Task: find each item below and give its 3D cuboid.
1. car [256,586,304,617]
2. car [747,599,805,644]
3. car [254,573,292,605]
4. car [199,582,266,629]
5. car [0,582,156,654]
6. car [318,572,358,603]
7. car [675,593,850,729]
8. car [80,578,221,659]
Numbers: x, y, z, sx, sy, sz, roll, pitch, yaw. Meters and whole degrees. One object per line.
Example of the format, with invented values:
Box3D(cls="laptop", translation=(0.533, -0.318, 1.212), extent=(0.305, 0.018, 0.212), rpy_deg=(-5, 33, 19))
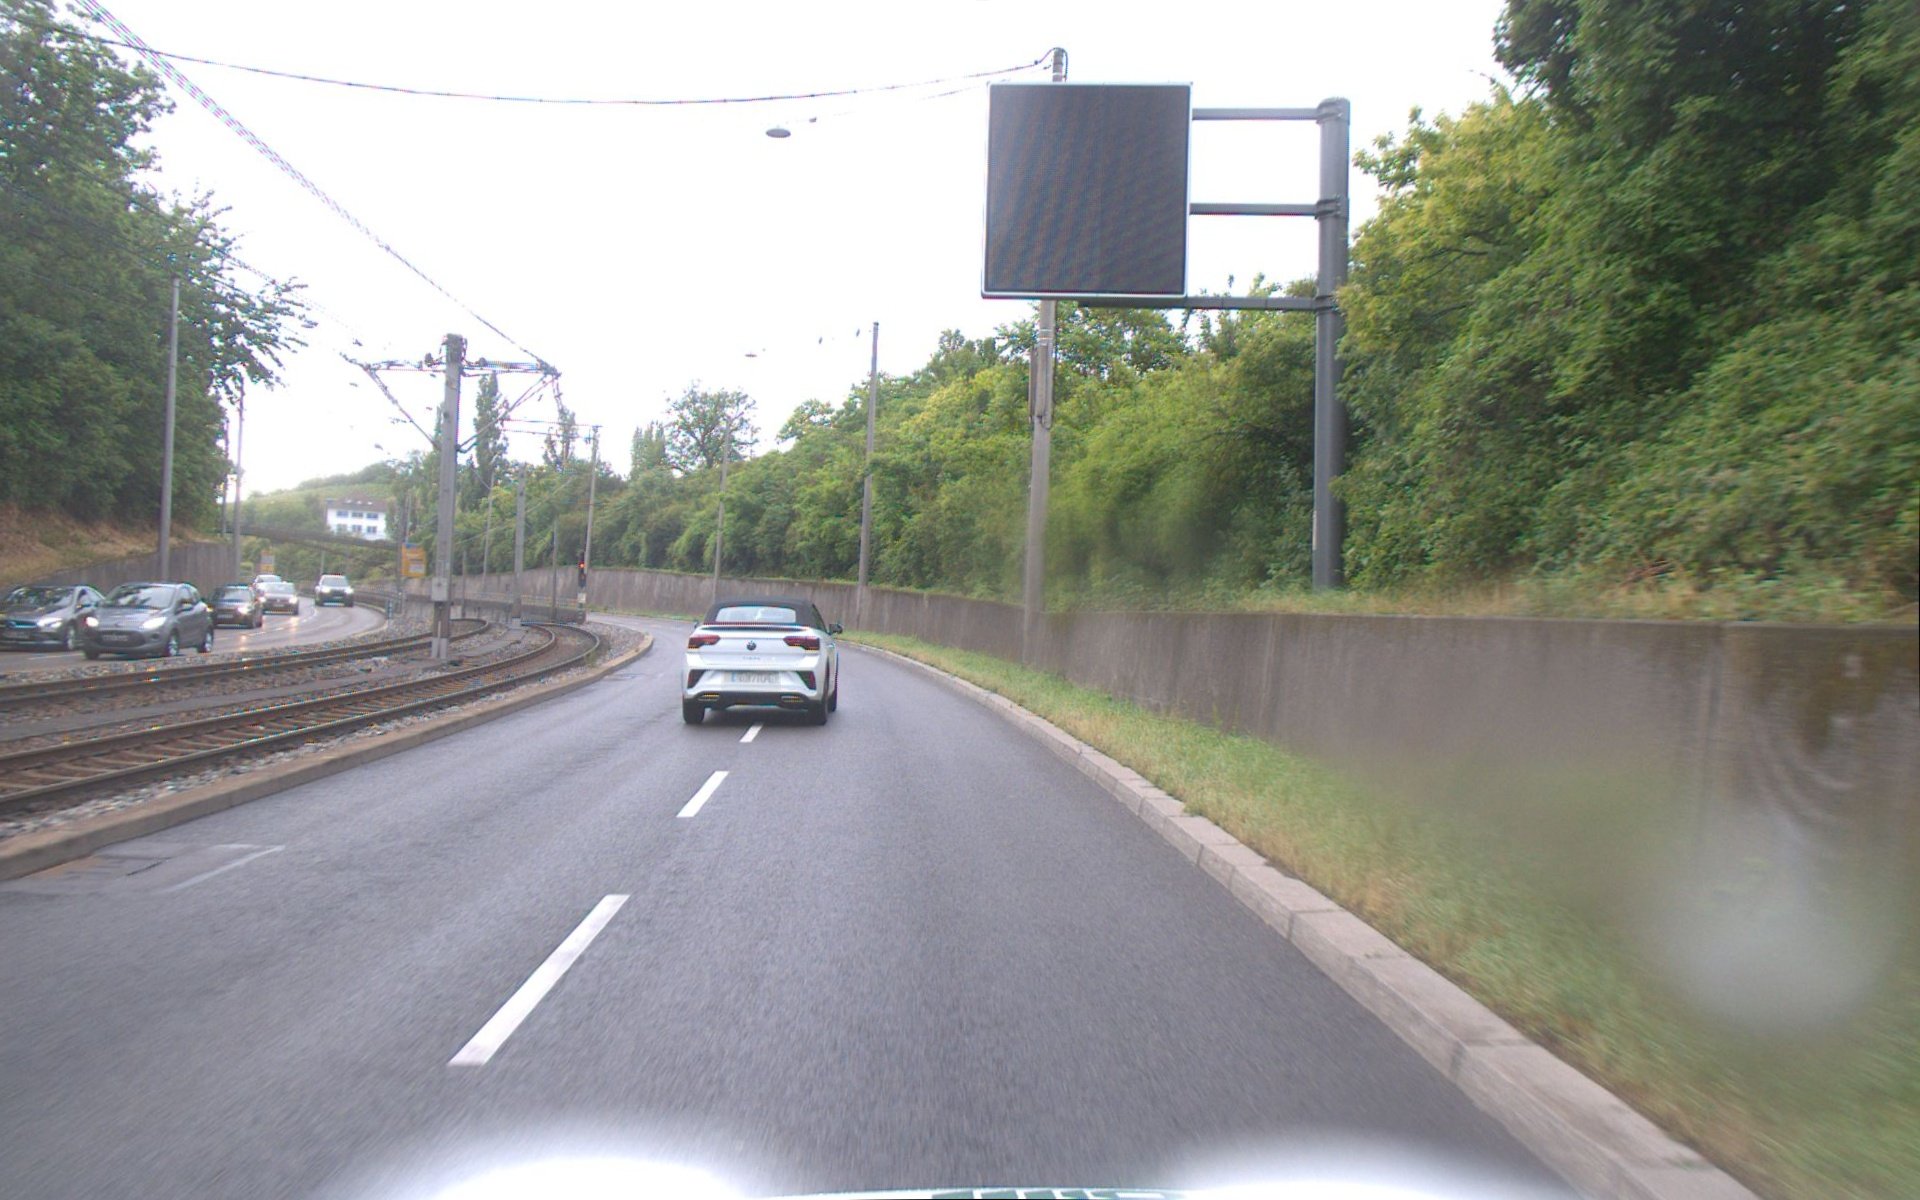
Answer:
Box3D(cls="car", translation=(-32.150, 0.052, 78.234), extent=(1.899, 1.439, 4.425), rpy_deg=(0, 1, -20))
Box3D(cls="car", translation=(-6.843, 0.769, 61.194), extent=(1.732, 1.527, 3.988), rpy_deg=(2, 0, -12))
Box3D(cls="car", translation=(-45.755, -0.746, 110.168), extent=(1.963, 2.049, 3.979), rpy_deg=(2, 0, -19))
Box3D(cls="car", translation=(-25.119, 0.176, 57.226), extent=(1.718, 1.542, 4.551), rpy_deg=(0, 0, -19))
Box3D(cls="car", translation=(-19.574, 0.382, 36.600), extent=(1.782, 1.487, 4.652), rpy_deg=(0, 0, -7))
Box3D(cls="car", translation=(-37.763, -0.776, 100.365), extent=(1.903, 1.818, 4.416), rpy_deg=(1, 0, -25))
Box3D(cls="car", translation=(-2.444, 0.708, 21.494), extent=(1.833, 1.551, 4.538), rpy_deg=(1, 0, -2))
Box3D(cls="car", translation=(-16.224, 0.359, 33.320), extent=(1.509, 1.517, 3.614), rpy_deg=(-1, 0, -9))
